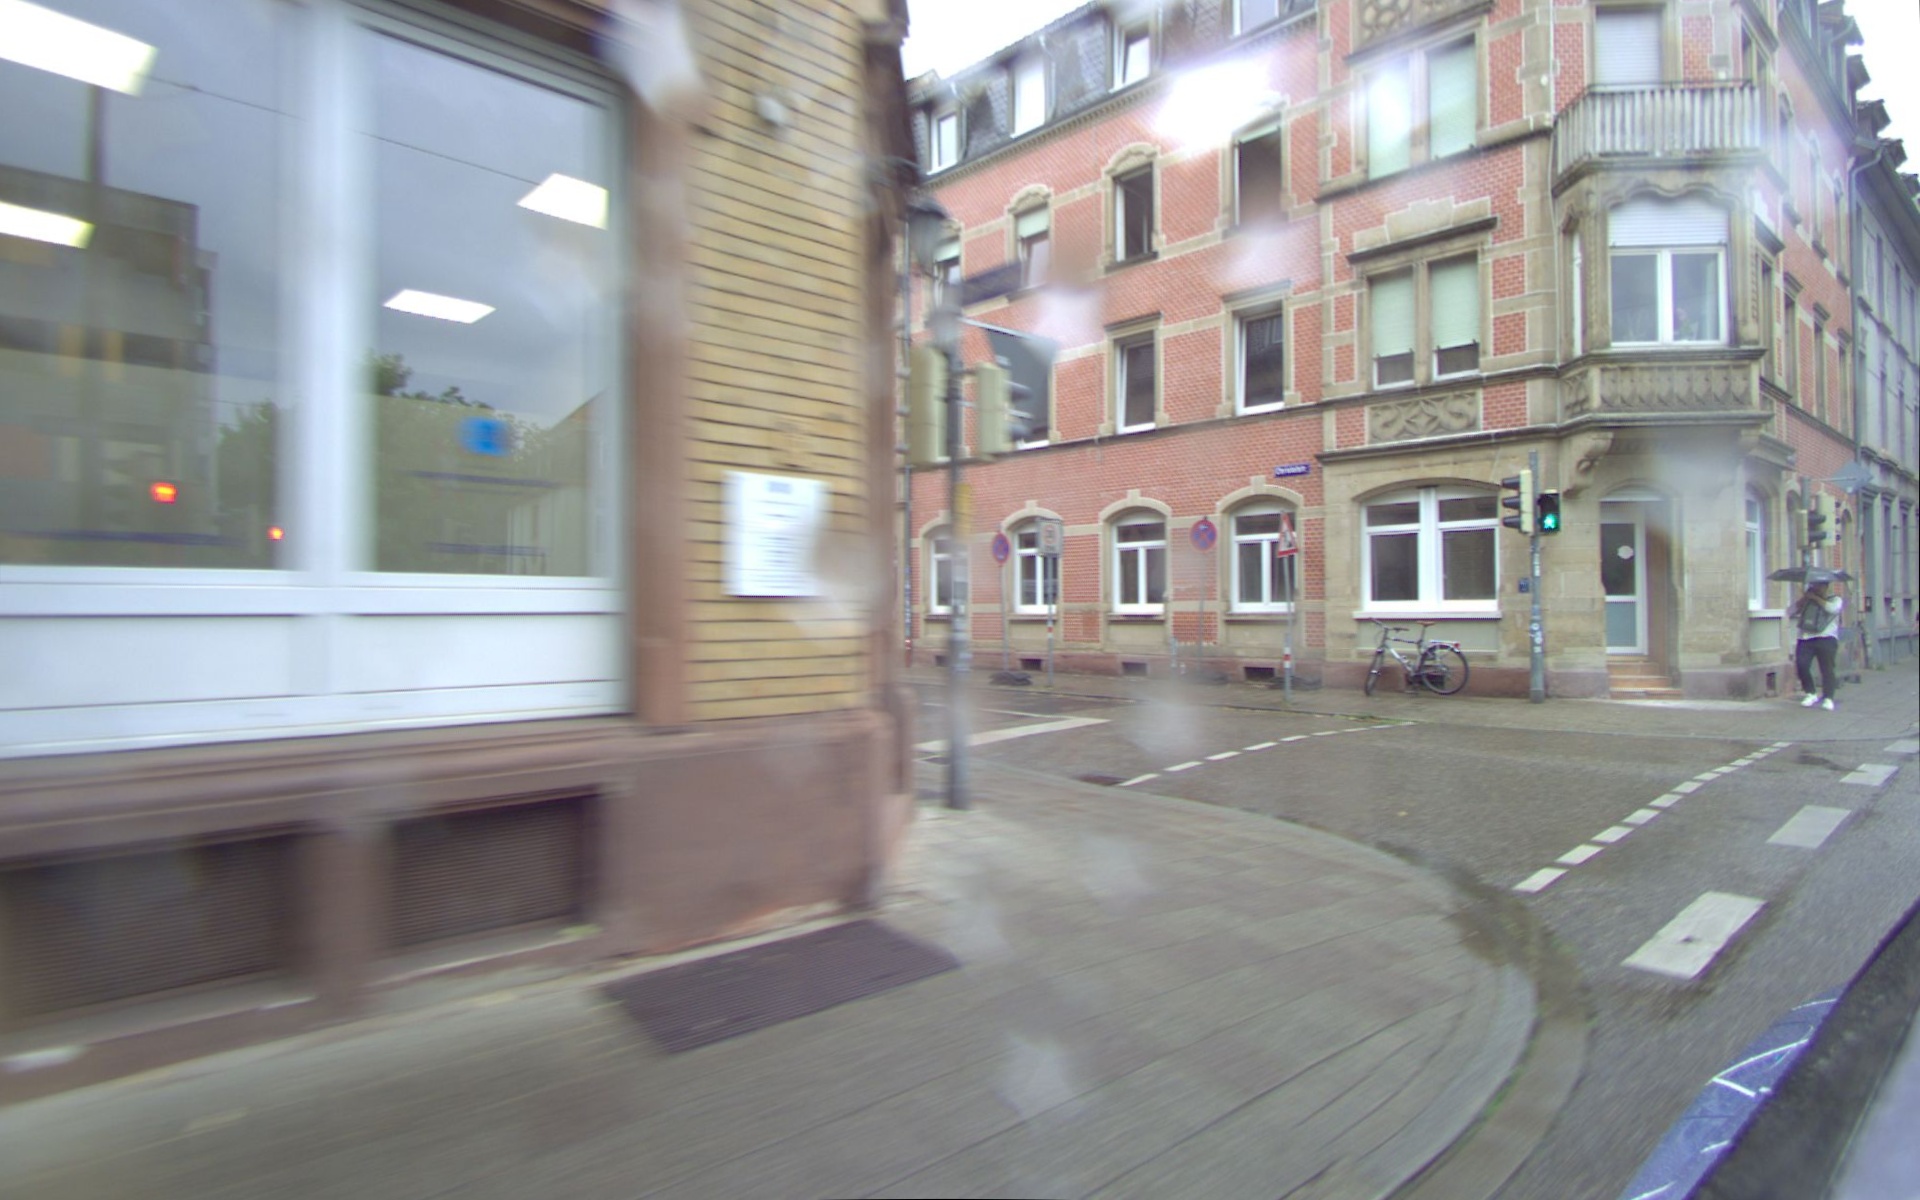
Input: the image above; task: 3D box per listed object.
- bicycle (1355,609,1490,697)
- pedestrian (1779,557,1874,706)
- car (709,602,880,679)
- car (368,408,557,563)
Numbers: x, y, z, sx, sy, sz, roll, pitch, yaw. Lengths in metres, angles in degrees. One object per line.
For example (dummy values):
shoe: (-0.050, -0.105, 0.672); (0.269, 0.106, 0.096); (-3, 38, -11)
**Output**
bicycle: (6.910, 0.772, 15.176); (1.685, 1.237, 0.668); (-2, -2, 44)
pedestrian: (11.805, 0.397, 13.788); (0.913, 1.937, 0.786); (0, 2, -41)
car: (-3.815, 0.851, 22.915); (4.001, 1.509, 1.766); (-1, 2, 44)
car: (-10.118, -2.118, 20.382); (2.087, 2.544, 4.735); (1, -1, -44)
